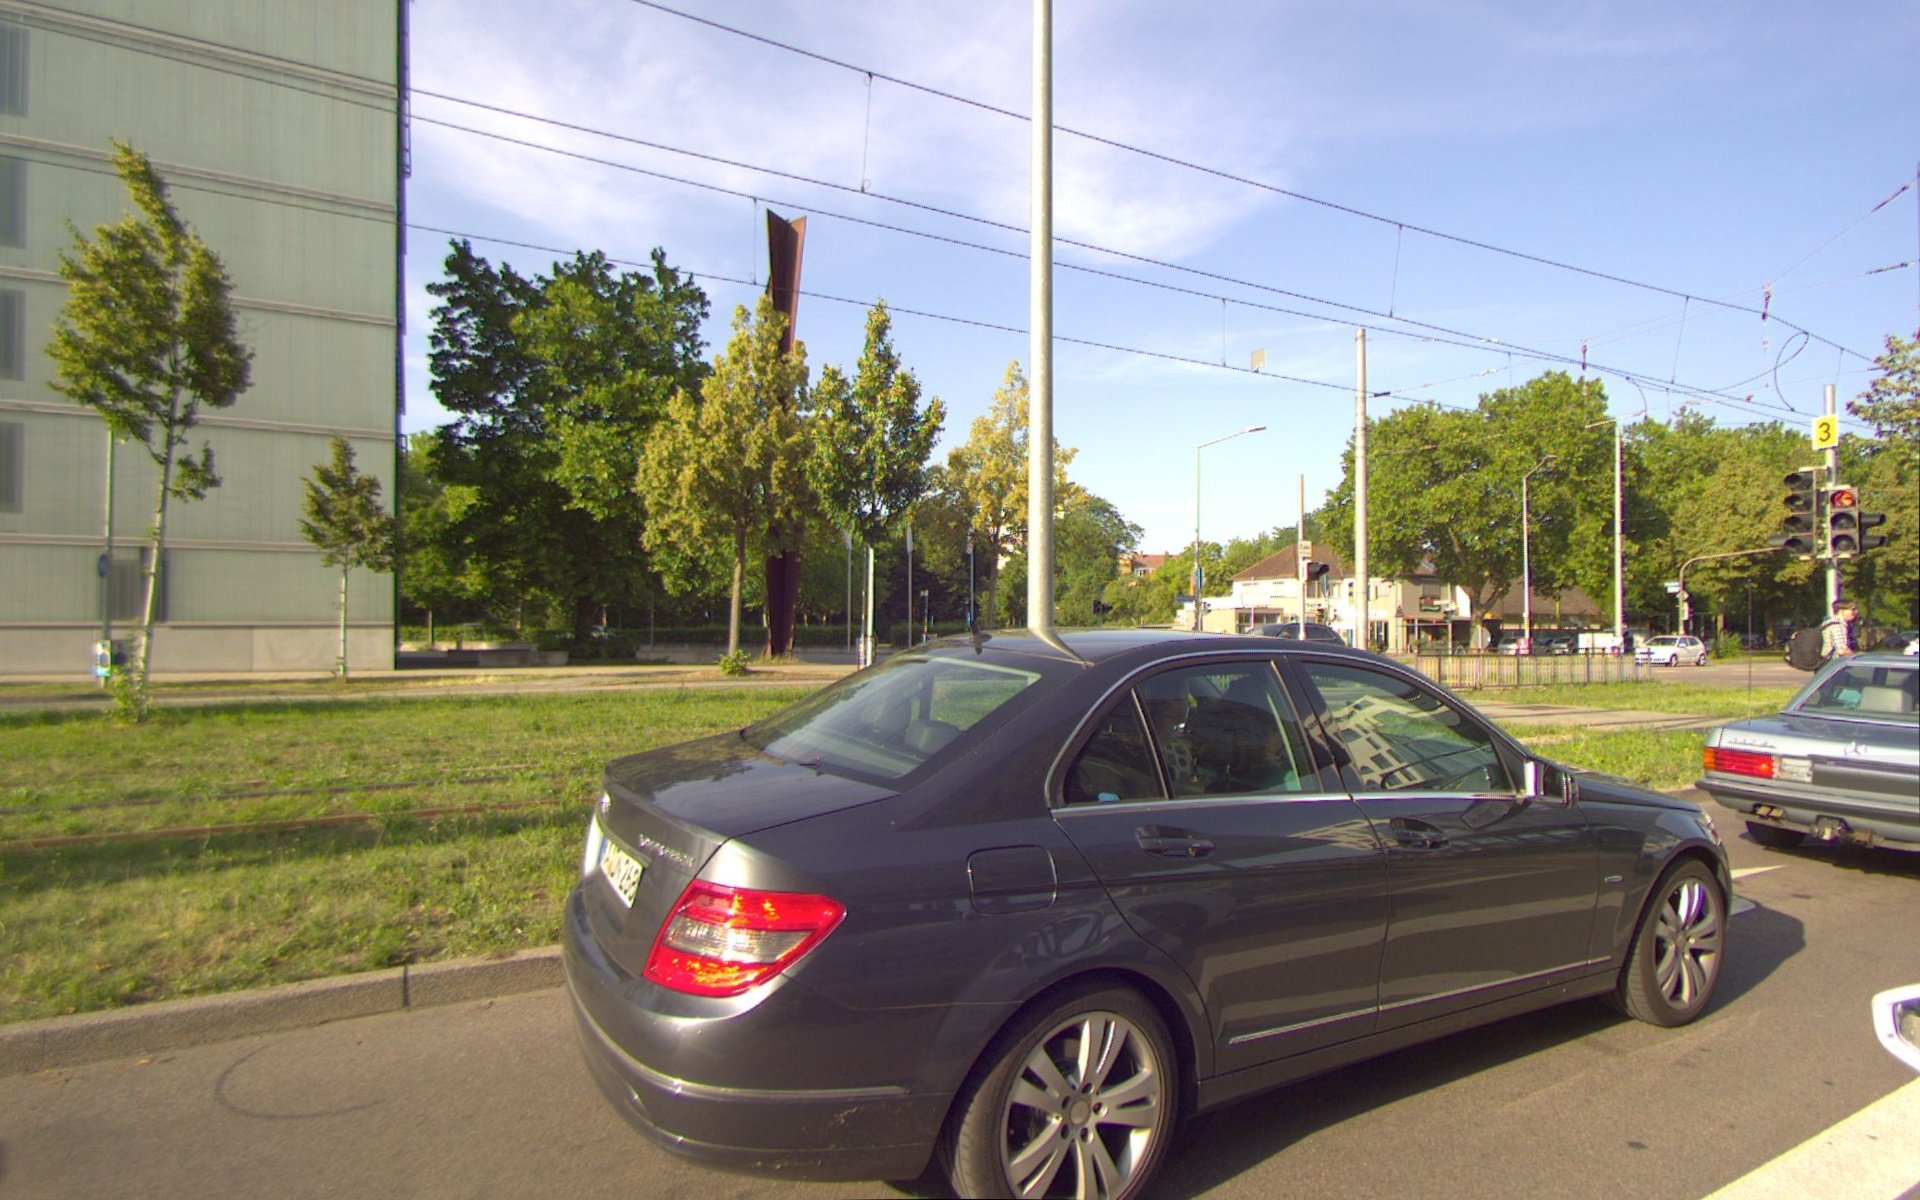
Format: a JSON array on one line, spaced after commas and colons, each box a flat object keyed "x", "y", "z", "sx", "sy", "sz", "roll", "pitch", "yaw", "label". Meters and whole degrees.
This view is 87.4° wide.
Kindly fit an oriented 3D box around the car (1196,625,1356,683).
[{"x": 10.012, "y": 1.641, "z": 31.766, "sx": 4.932, "sy": 1.707, "sz": 1.986, "roll": 0, "pitch": -1, "yaw": -28, "label": "car"}]

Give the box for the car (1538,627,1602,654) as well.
[{"x": 41.955, "y": 2.783, "z": 69.090, "sx": 3.944, "sy": 1.773, "sz": 1.877, "roll": 1, "pitch": -2, "yaw": -24, "label": "car"}]

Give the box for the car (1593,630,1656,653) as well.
[{"x": 47.380, "y": 2.928, "z": 71.621, "sx": 3.944, "sy": 1.580, "sz": 1.877, "roll": 1, "pitch": -2, "yaw": -24, "label": "car"}]

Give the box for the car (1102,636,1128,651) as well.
[{"x": 16.106, "y": 4.545, "z": 104.604, "sx": 1.667, "sy": 1.491, "sz": 3.942, "roll": 0, "pitch": -2, "yaw": -7, "label": "car"}]

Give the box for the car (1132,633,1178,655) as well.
[{"x": 16.191, "y": 3.653, "z": 83.526, "sx": 1.971, "sy": 1.750, "sz": 3.980, "roll": 1, "pitch": -2, "yaw": -22, "label": "car"}]

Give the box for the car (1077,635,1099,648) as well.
[{"x": 14.806, "y": 4.795, "z": 116.140, "sx": 1.667, "sy": 1.491, "sz": 3.942, "roll": 0, "pitch": -2, "yaw": -7, "label": "car"}]

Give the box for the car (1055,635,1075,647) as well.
[{"x": 13.360, "y": 5.161, "z": 127.783, "sx": 1.667, "sy": 1.491, "sz": 3.942, "roll": 0, "pitch": -2, "yaw": -7, "label": "car"}]

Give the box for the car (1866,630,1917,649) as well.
[{"x": 80.911, "y": 3.442, "z": 87.264, "sx": 3.944, "sy": 1.580, "sz": 1.877, "roll": 1, "pitch": -2, "yaw": -24, "label": "car"}]

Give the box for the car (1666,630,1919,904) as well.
[{"x": 6.700, "y": 0.916, "z": 6.576, "sx": 4.348, "sy": 1.348, "sz": 1.755, "roll": 0, "pitch": 0, "yaw": -30, "label": "car"}]

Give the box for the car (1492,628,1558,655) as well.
[{"x": 37.700, "y": 2.745, "z": 67.080, "sx": 3.944, "sy": 1.773, "sz": 1.877, "roll": 1, "pitch": -2, "yaw": -24, "label": "car"}]

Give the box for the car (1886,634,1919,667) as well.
[{"x": 46.158, "y": 2.392, "z": 47.742, "sx": 4.043, "sy": 1.524, "sz": 1.985, "roll": 2, "pitch": -2, "yaw": -29, "label": "car"}]

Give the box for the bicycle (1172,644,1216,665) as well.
[{"x": 12.115, "y": 2.814, "z": 52.069, "sx": 2.169, "sy": 1.055, "sz": 0.697, "roll": -1, "pitch": -2, "yaw": 39, "label": "bicycle"}]

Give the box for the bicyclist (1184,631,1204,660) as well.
[{"x": 12.128, "y": 2.356, "z": 52.071, "sx": 0.837, "sy": 1.512, "sz": 0.697, "roll": -1, "pitch": -2, "yaw": 39, "label": "bicyclist"}]

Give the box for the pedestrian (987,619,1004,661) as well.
[{"x": 1.832, "y": 2.073, "z": 51.983, "sx": 0.864, "sy": 2.135, "sz": 0.724, "roll": -1, "pitch": -3, "yaw": 0, "label": "pedestrian"}]

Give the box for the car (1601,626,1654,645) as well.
[{"x": 56.634, "y": 3.009, "z": 85.232, "sx": 3.944, "sy": 1.580, "sz": 1.877, "roll": 1, "pitch": -2, "yaw": -24, "label": "car"}]

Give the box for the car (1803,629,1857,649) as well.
[{"x": 72.341, "y": 3.236, "z": 83.499, "sx": 3.944, "sy": 1.580, "sz": 1.877, "roll": 1, "pitch": -2, "yaw": -24, "label": "car"}]

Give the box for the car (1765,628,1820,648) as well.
[{"x": 67.323, "y": 3.105, "z": 81.219, "sx": 3.944, "sy": 1.580, "sz": 1.877, "roll": 1, "pitch": -2, "yaw": -24, "label": "car"}]

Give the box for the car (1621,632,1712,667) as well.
[{"x": 33.721, "y": 2.347, "z": 47.924, "sx": 4.170, "sy": 1.548, "sz": 1.870, "roll": 0, "pitch": -1, "yaw": -28, "label": "car"}]

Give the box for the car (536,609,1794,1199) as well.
[{"x": 0.881, "y": 0.804, "z": 3.603, "sx": 4.299, "sy": 1.498, "sz": 1.779, "roll": 0, "pitch": 0, "yaw": -29, "label": "car"}]
